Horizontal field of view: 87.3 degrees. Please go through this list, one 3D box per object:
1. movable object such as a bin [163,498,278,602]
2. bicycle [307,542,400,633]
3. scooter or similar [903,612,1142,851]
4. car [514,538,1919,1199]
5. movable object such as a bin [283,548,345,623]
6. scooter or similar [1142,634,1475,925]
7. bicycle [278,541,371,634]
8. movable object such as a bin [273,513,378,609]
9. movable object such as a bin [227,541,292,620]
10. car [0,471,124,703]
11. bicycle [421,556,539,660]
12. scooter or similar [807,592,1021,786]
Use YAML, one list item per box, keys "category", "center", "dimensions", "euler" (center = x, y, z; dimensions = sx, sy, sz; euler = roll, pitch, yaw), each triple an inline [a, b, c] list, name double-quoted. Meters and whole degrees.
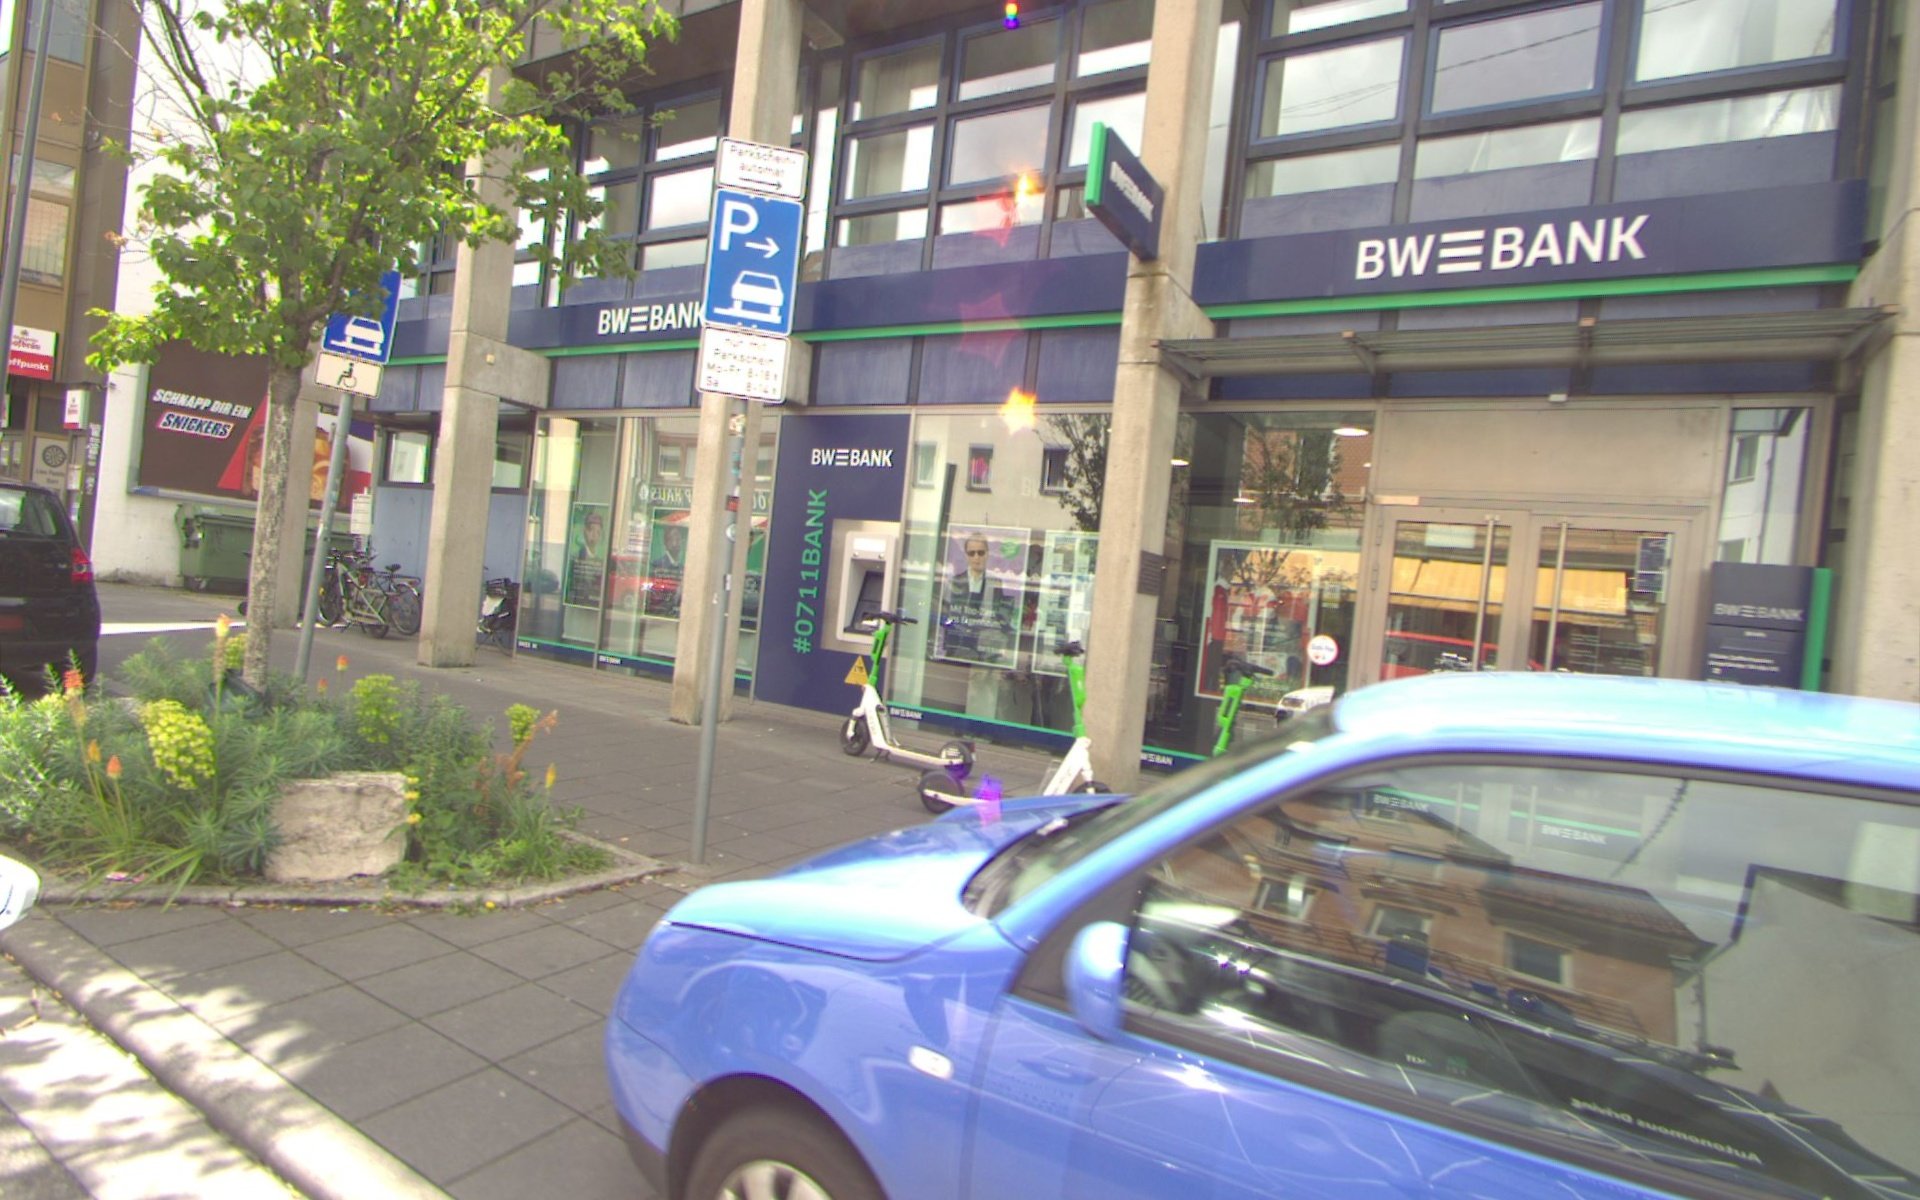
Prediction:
- category: "movable object such as a bin"
  center: [-12.370, -0.825, 16.835]
  dimensions: [1.015, 1.546, 1.143]
  euler: [6, -1, 34]
- category: "bicycle"
  center: [-8.530, -0.187, 14.141]
  dimensions: [1.478, 1.132, 0.426]
  euler: [6, -1, 34]
- category: "scooter or similar"
  center: [0.386, 0.785, 6.291]
  dimensions: [1.300, 1.260, 0.407]
  euler: [6, -1, 21]
- category: "car"
  center: [1.275, 0.873, 1.760]
  dimensions: [4.042, 1.511, 1.724]
  euler: [6, -2, 33]
- category: "movable object such as a bin"
  center: [-9.430, -0.204, 14.689]
  dimensions: [0.545, 1.011, 0.487]
  euler: [6, -1, 34]
- category: "scooter or similar"
  center: [1.854, 0.904, 5.460]
  dimensions: [1.535, 1.260, 0.422]
  euler: [6, -1, 31]
- category: "bicycle"
  center: [-8.621, -0.174, 13.627]
  dimensions: [1.477, 1.095, 0.425]
  euler: [7, 2, 34]
- category: "movable object such as a bin"
  center: [-11.415, -0.693, 18.111]
  dimensions: [1.015, 1.546, 1.143]
  euler: [6, -1, 34]
- category: "movable object such as a bin"
  center: [-9.776, -0.275, 14.034]
  dimensions: [0.545, 1.011, 0.487]
  euler: [6, -1, 34]
- category: "car"
  center: [-8.040, -0.272, 7.551]
  dimensions: [3.733, 1.552, 1.610]
  euler: [7, 1, 33]
- category: "bicycle"
  center: [-6.090, 0.086, 12.721]
  dimensions: [1.713, 1.132, 0.426]
  euler: [6, -1, 34]
- category: "scooter or similar"
  center: [-0.374, 0.648, 7.715]
  dimensions: [1.535, 1.260, 0.422]
  euler: [6, -1, 31]
